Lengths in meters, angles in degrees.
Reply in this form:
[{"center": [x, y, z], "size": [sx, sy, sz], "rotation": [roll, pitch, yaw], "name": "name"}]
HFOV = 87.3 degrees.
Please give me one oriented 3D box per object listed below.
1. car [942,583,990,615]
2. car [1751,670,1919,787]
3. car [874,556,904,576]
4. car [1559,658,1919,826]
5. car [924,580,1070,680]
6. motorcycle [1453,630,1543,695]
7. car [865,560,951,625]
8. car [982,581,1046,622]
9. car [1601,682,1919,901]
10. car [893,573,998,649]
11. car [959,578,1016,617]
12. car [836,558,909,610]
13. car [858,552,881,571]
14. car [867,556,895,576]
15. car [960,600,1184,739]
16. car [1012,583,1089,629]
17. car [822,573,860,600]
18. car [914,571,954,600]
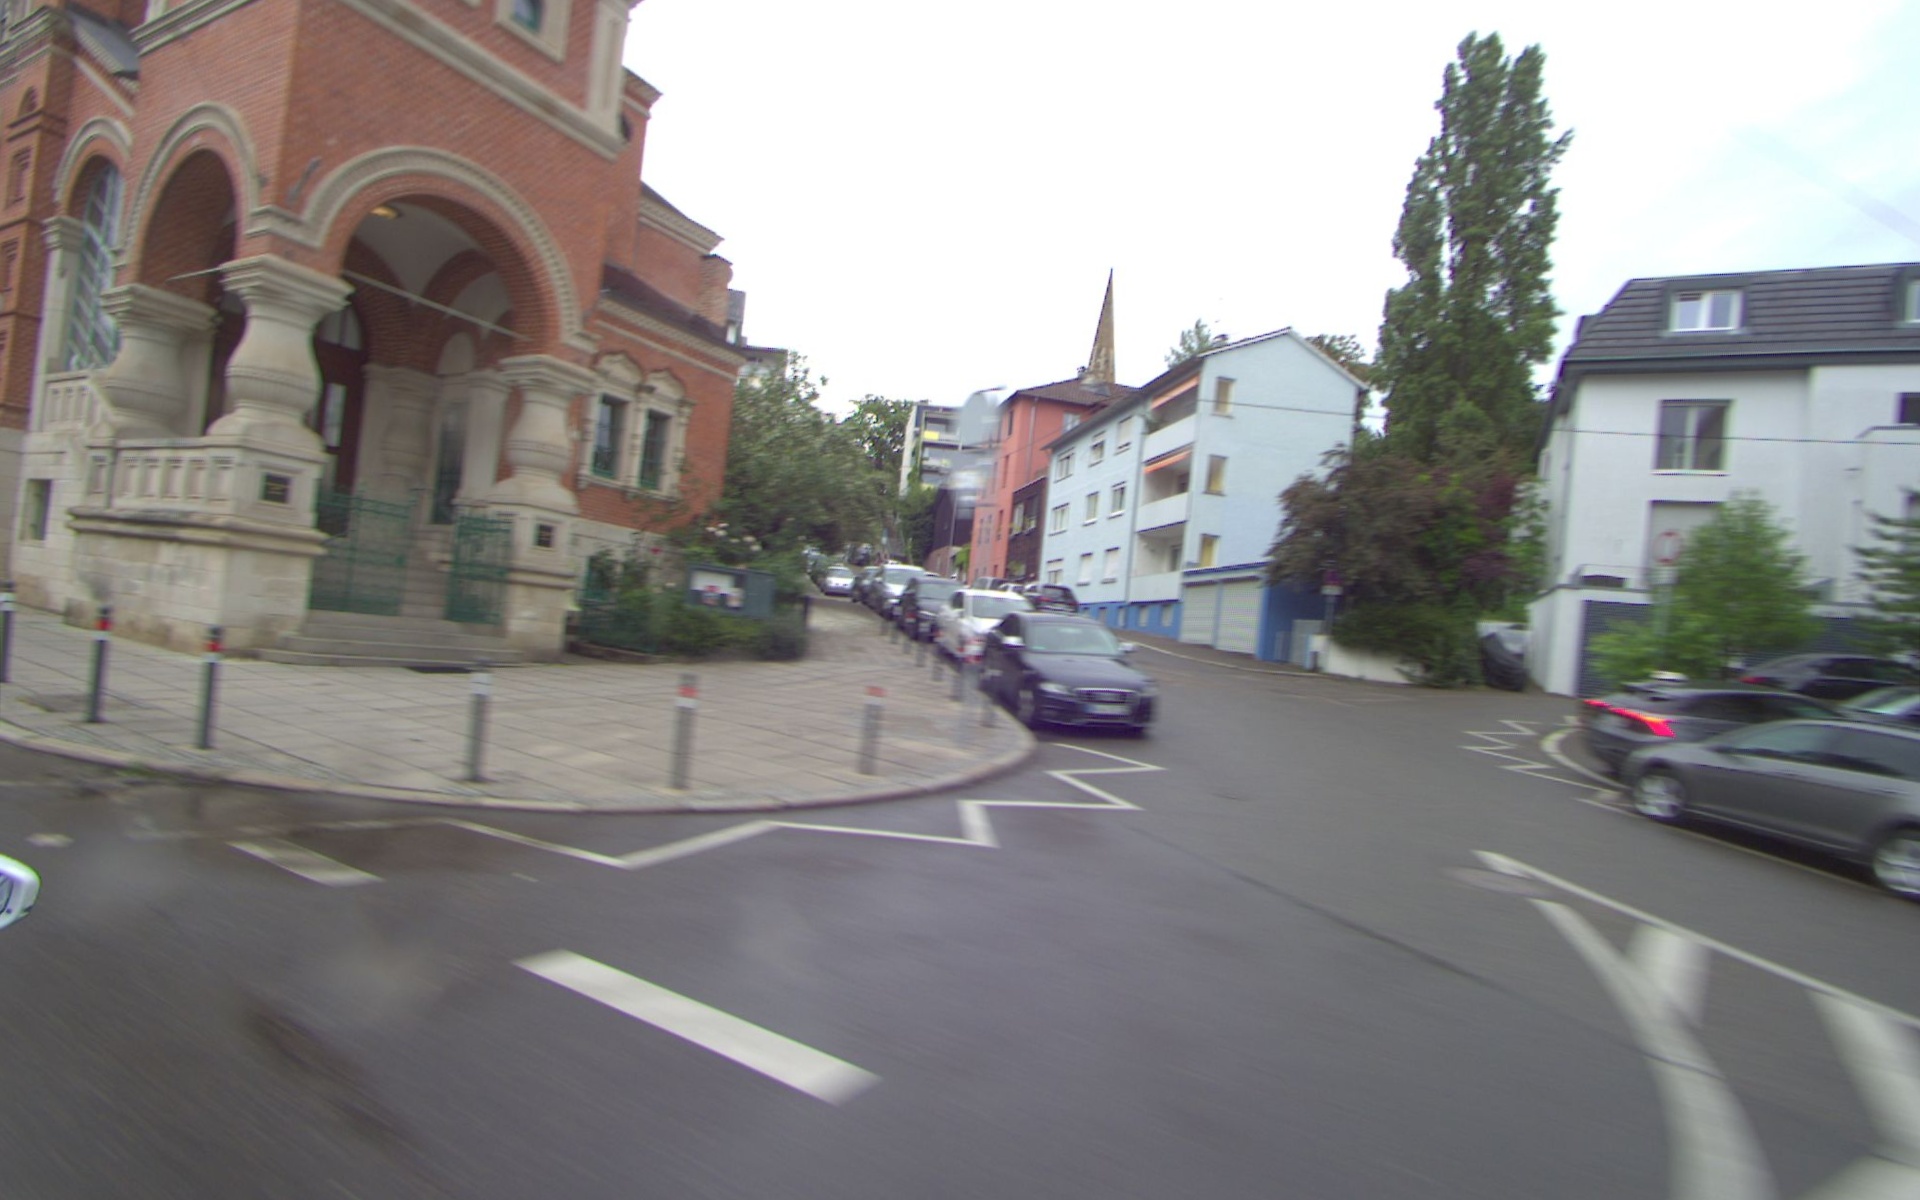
[{"center": [0.290, -0.060, 54.049], "size": [1.798, 1.423, 3.994], "rotation": [8, -1, -9], "name": "car"}, {"center": [14.981, 2.106, 15.426], "size": [3.925, 1.562, 2.003], "rotation": [5, -4, 19], "name": "car"}, {"center": [-5.972, -2.812, 83.931], "size": [1.799, 1.423, 3.990], "rotation": [8, 0, -12], "name": "car"}, {"center": [11.232, 1.940, 14.041], "size": [4.364, 1.640, 1.999], "rotation": [6, 4, 3], "name": "car"}, {"center": [0.606, 0.519, 20.143], "size": [1.915, 1.515, 3.917], "rotation": [5, 2, -12], "name": "car"}, {"center": [14.374, 1.689, 26.960], "size": [0.934, 1.554, 2.474], "rotation": [6, -4, -1], "name": "motorcycle"}, {"center": [-1.649, -0.277, 30.548], "size": [1.911, 1.535, 3.832], "rotation": [7, 3, -12], "name": "car"}, {"center": [2.276, 0.100, 43.330], "size": [1.798, 1.422, 3.996], "rotation": [8, -2, -9], "name": "car"}, {"center": [9.050, 1.911, 9.941], "size": [1.969, 1.476, 4.438], "rotation": [7, 1, -10], "name": "car"}, {"center": [-0.445, 0.227, 24.931], "size": [1.909, 1.464, 3.617], "rotation": [3, 4, -12], "name": "car"}, {"center": [1.264, -0.072, 48.115], "size": [1.798, 1.548, 3.996], "rotation": [8, -2, -9], "name": "car"}, {"center": [-3.197, -0.544, 35.988], "size": [1.911, 1.525, 4.439], "rotation": [7, -1, -12], "name": "car"}, {"center": [-8.744, -3.720, 96.891], "size": [1.798, 1.425, 3.988], "rotation": [8, 3, -10], "name": "car"}, {"center": [-6.931, -2.958, 88.315], "size": [1.799, 1.423, 3.990], "rotation": [8, 0, -12], "name": "car"}, {"center": [1.438, 0.897, 14.946], "size": [1.910, 1.387, 4.464], "rotation": [5, 2, -12], "name": "car"}, {"center": [3.325, 0.251, 37.691], "size": [1.798, 1.422, 3.996], "rotation": [8, -2, -9], "name": "car"}, {"center": [-6.563, -0.763, 55.174], "size": [1.665, 1.220, 3.818], "rotation": [7, 1, -12], "name": "car"}, {"center": [-1.745, -0.967, 65.324], "size": [1.799, 1.475, 3.987], "rotation": [8, 3, -11], "name": "car"}]
